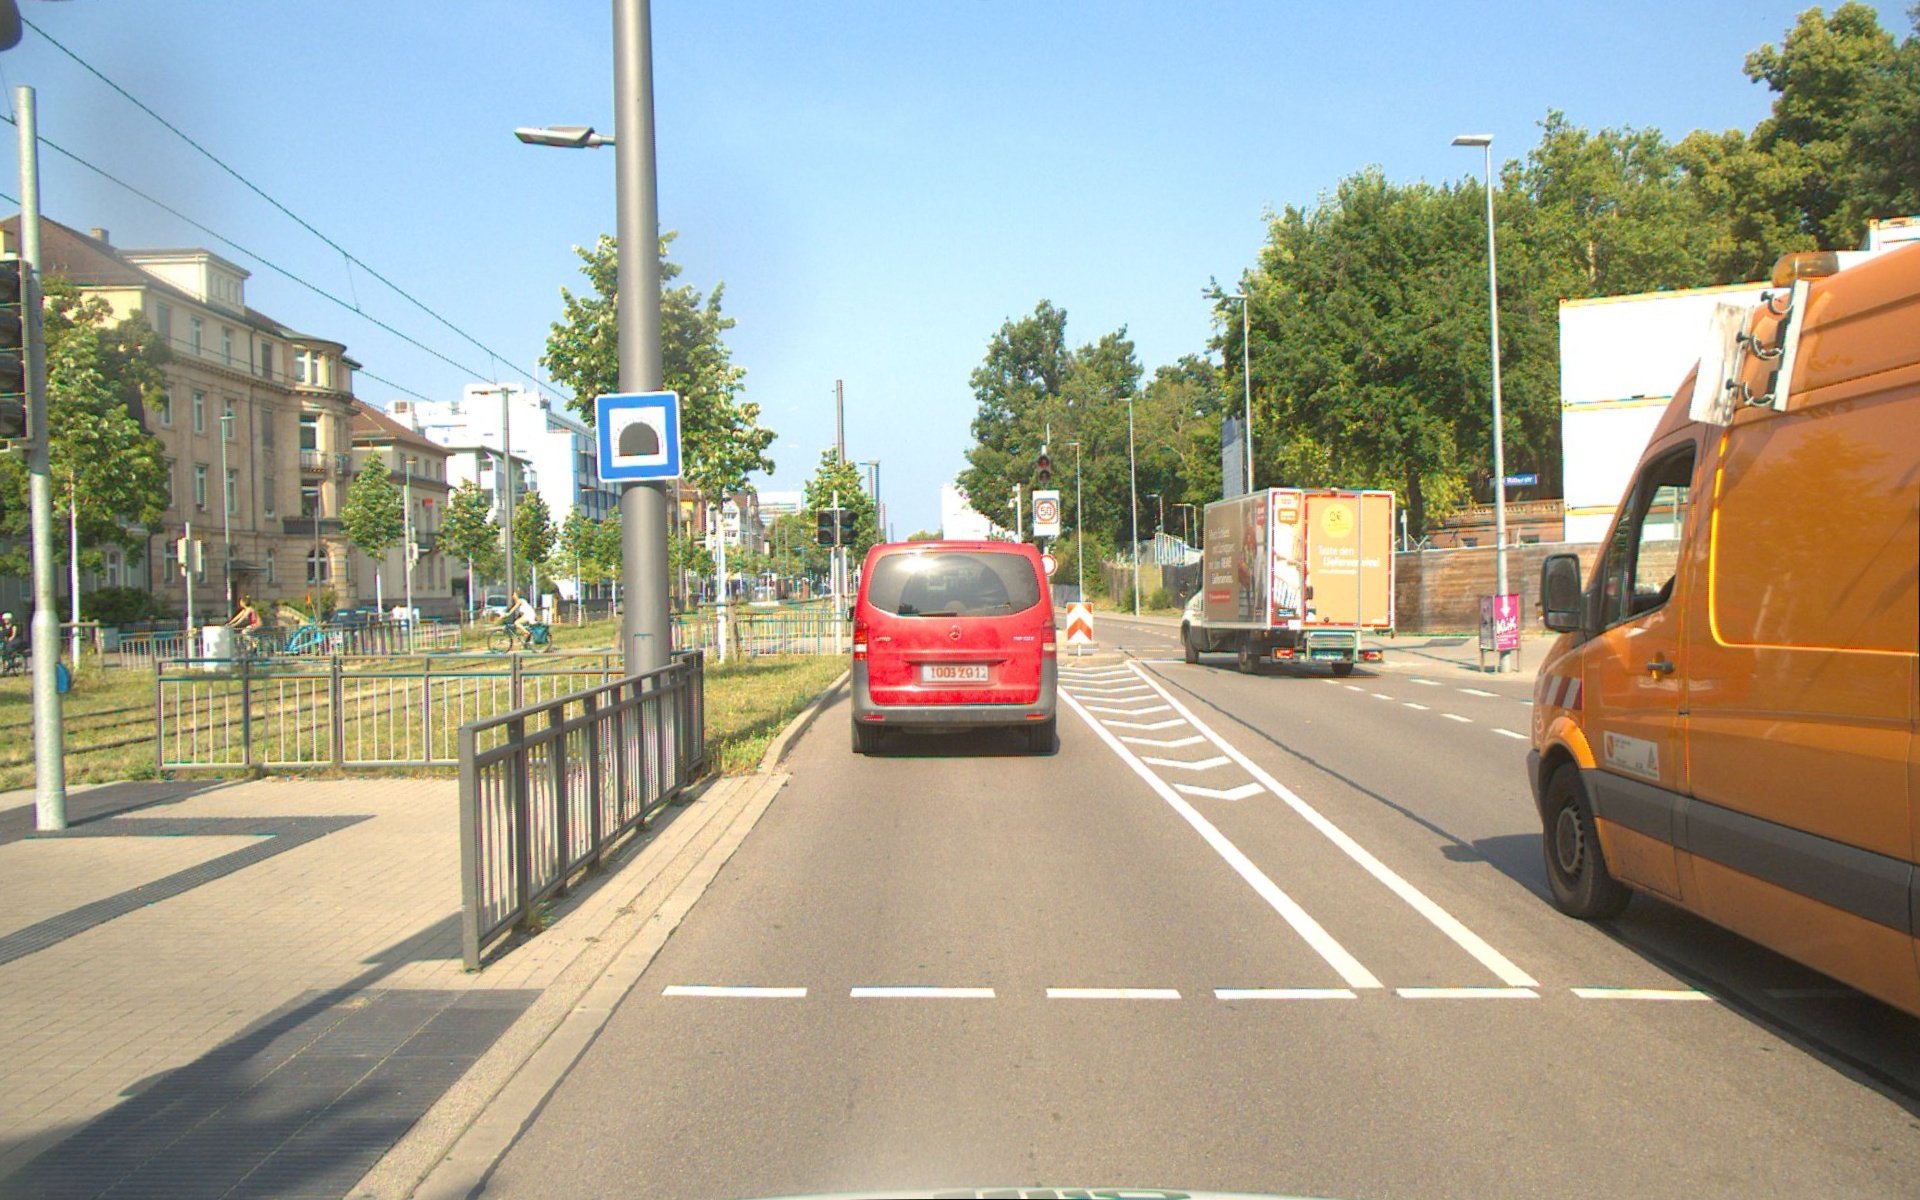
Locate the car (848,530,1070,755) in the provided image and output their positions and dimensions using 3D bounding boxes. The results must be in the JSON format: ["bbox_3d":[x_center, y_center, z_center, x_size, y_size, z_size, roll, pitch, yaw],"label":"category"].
[{"bbox_3d":[0.020,0.349,15.889,1.862,1.892,4.000,0,0,1],"label":"car"}]

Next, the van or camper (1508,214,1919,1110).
[{"bbox_3d":[3.688,0.167,5.385,1.945,2.515,6.063,0,1,1],"label":"van or camper"}]

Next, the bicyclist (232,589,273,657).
[{"bbox_3d":[-17.686,0.572,41.351,0.879,1.657,0.885,-2,0,-25],"label":"bicyclist"}]

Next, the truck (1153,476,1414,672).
[{"bbox_3d":[5.652,-0.396,30.372,2.454,3.114,7.808,0,0,-7],"label":"truck"}]

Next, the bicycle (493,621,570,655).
[{"bbox_3d":[-11.564,1.015,44.636,1.964,0.807,0.626,-2,0,-16],"label":"bicycle"}]

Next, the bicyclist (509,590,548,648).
[{"bbox_3d":[-11.640,0.514,44.612,0.967,1.526,0.618,-2,0,-16],"label":"bicyclist"}]

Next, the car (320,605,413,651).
[{"bbox_3d":[-21.506,0.994,60.150,1.954,1.539,4.395,-2,0,-3],"label":"car"}]

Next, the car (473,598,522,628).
[{"bbox_3d":[-32.800,0.938,117.327,2.204,2.049,5.259,0,-2,-3],"label":"car"}]

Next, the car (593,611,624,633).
[{"bbox_3d":[-30.094,1.866,141.722,1.879,1.844,3.999,0,0,-1],"label":"car"}]

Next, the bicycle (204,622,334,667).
[{"bbox_3d":[-17.329,1.098,41.499,2.952,0.982,0.892,-2,0,-27],"label":"bicycle"}]

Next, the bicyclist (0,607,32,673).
[{"bbox_3d":[-26.931,1.134,46.870,0.656,1.837,1.082,-2,0,-6],"label":"bicyclist"}]

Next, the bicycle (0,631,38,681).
[{"bbox_3d":[-26.926,1.583,46.888,0.681,1.369,1.755,-2,0,-6],"label":"bicycle"}]

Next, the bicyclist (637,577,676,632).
[{"bbox_3d":[-8.068,0.119,44.019,0.672,1.466,0.805,0,-1,27],"label":"bicyclist"}]

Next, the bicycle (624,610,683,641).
[{"bbox_3d":[-8.127,0.673,43.934,0.704,0.812,1.602,0,0,27],"label":"bicycle"}]
